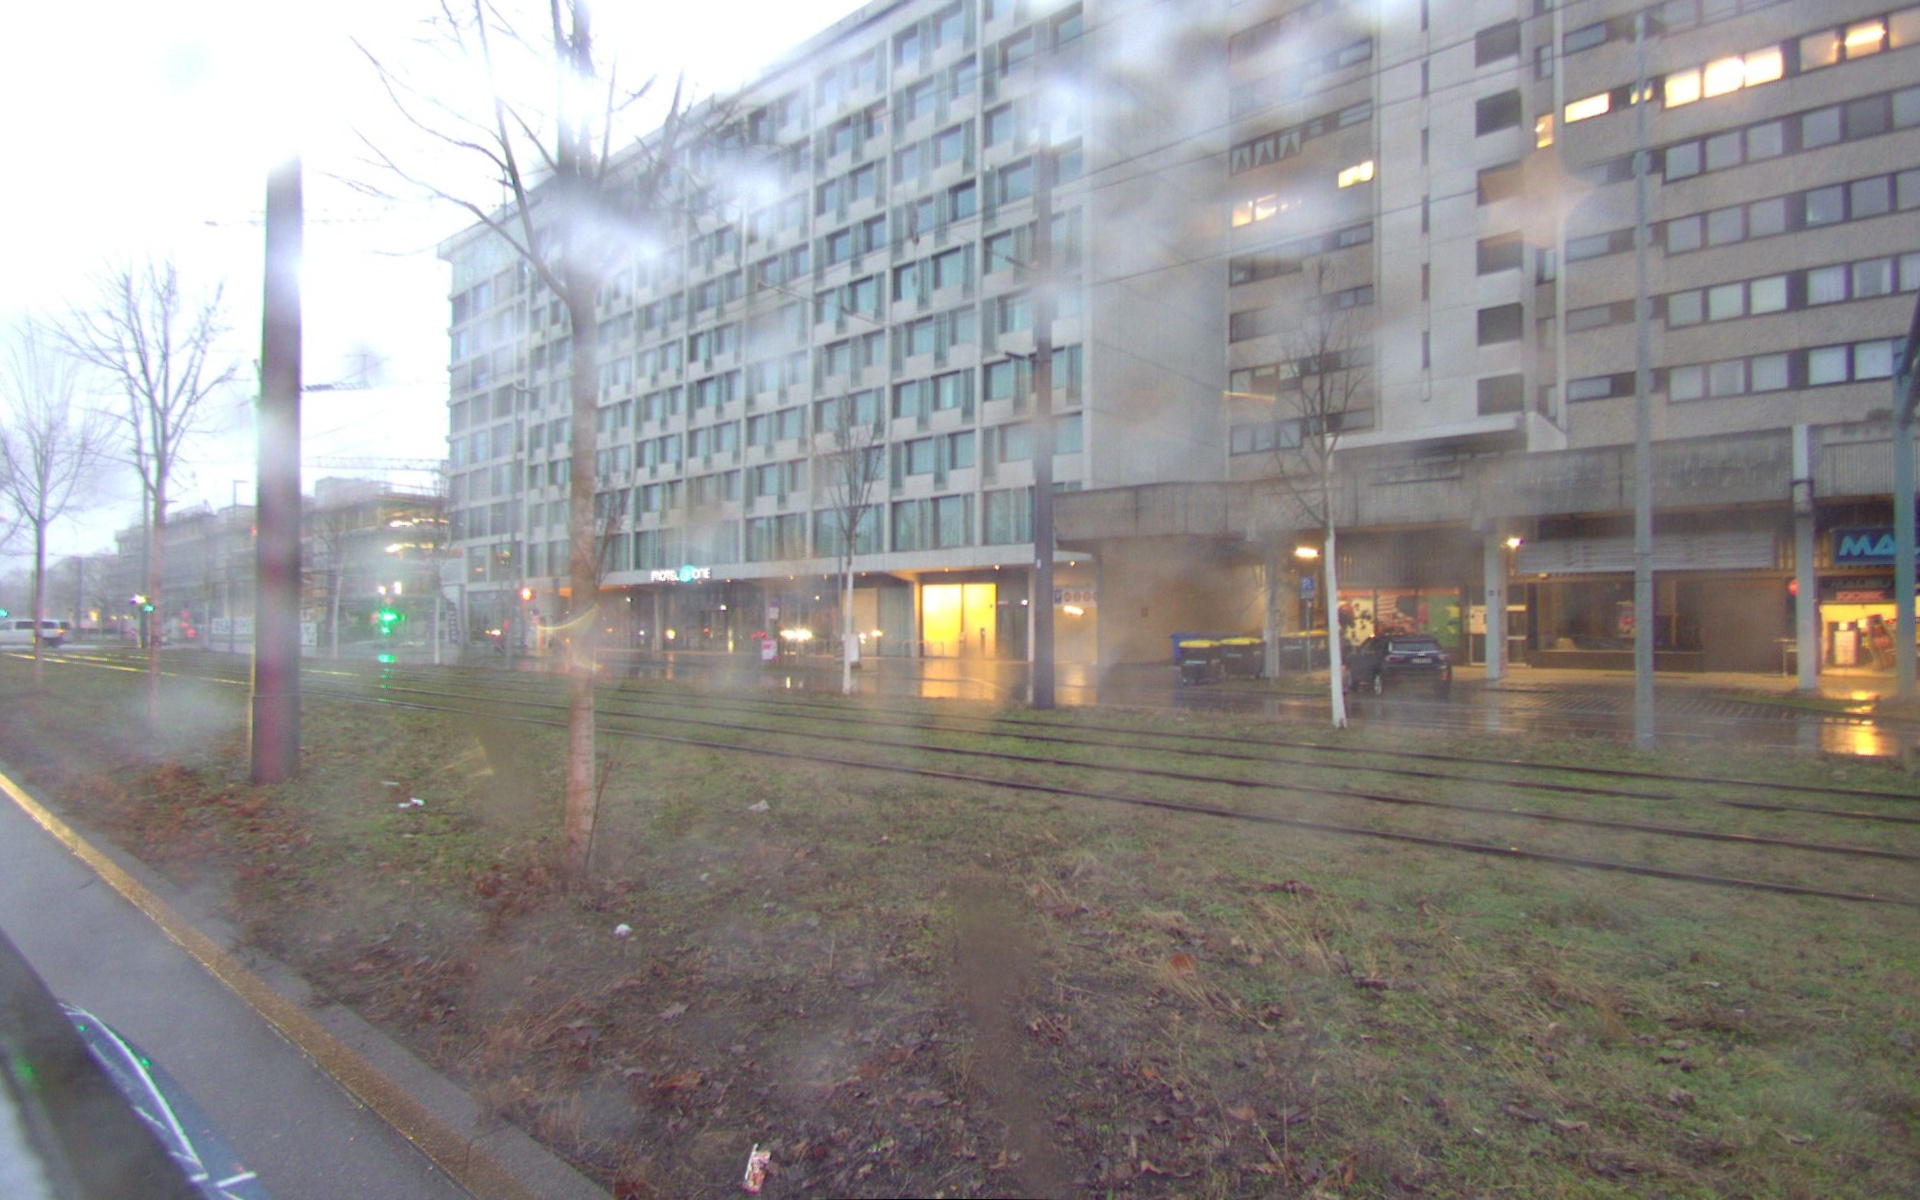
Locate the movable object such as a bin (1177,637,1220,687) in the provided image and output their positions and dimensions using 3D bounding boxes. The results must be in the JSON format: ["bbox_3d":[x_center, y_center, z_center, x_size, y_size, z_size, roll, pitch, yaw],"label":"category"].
[{"bbox_3d":[7.332,1.892,31.094,1.027,1.437,1.063,-1,0,30],"label":"movable object such as a bin"}]

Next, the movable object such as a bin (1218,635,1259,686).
[{"bbox_3d":[8.686,1.865,31.548,1.008,1.512,1.042,-1,0,30],"label":"movable object such as a bin"}]

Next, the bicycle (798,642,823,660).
[{"bbox_3d":[-7.841,2.696,53.182,0.465,0.860,1.332,-1,0,39],"label":"bicycle"}]

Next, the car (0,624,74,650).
[{"bbox_3d":[-62.723,2.456,67.552,4.955,1.682,2.095,1,-2,-25],"label":"car"}]

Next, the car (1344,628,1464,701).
[{"bbox_3d":[11.966,1.689,27.585,1.962,1.706,4.131,-1,0,9],"label":"car"}]
